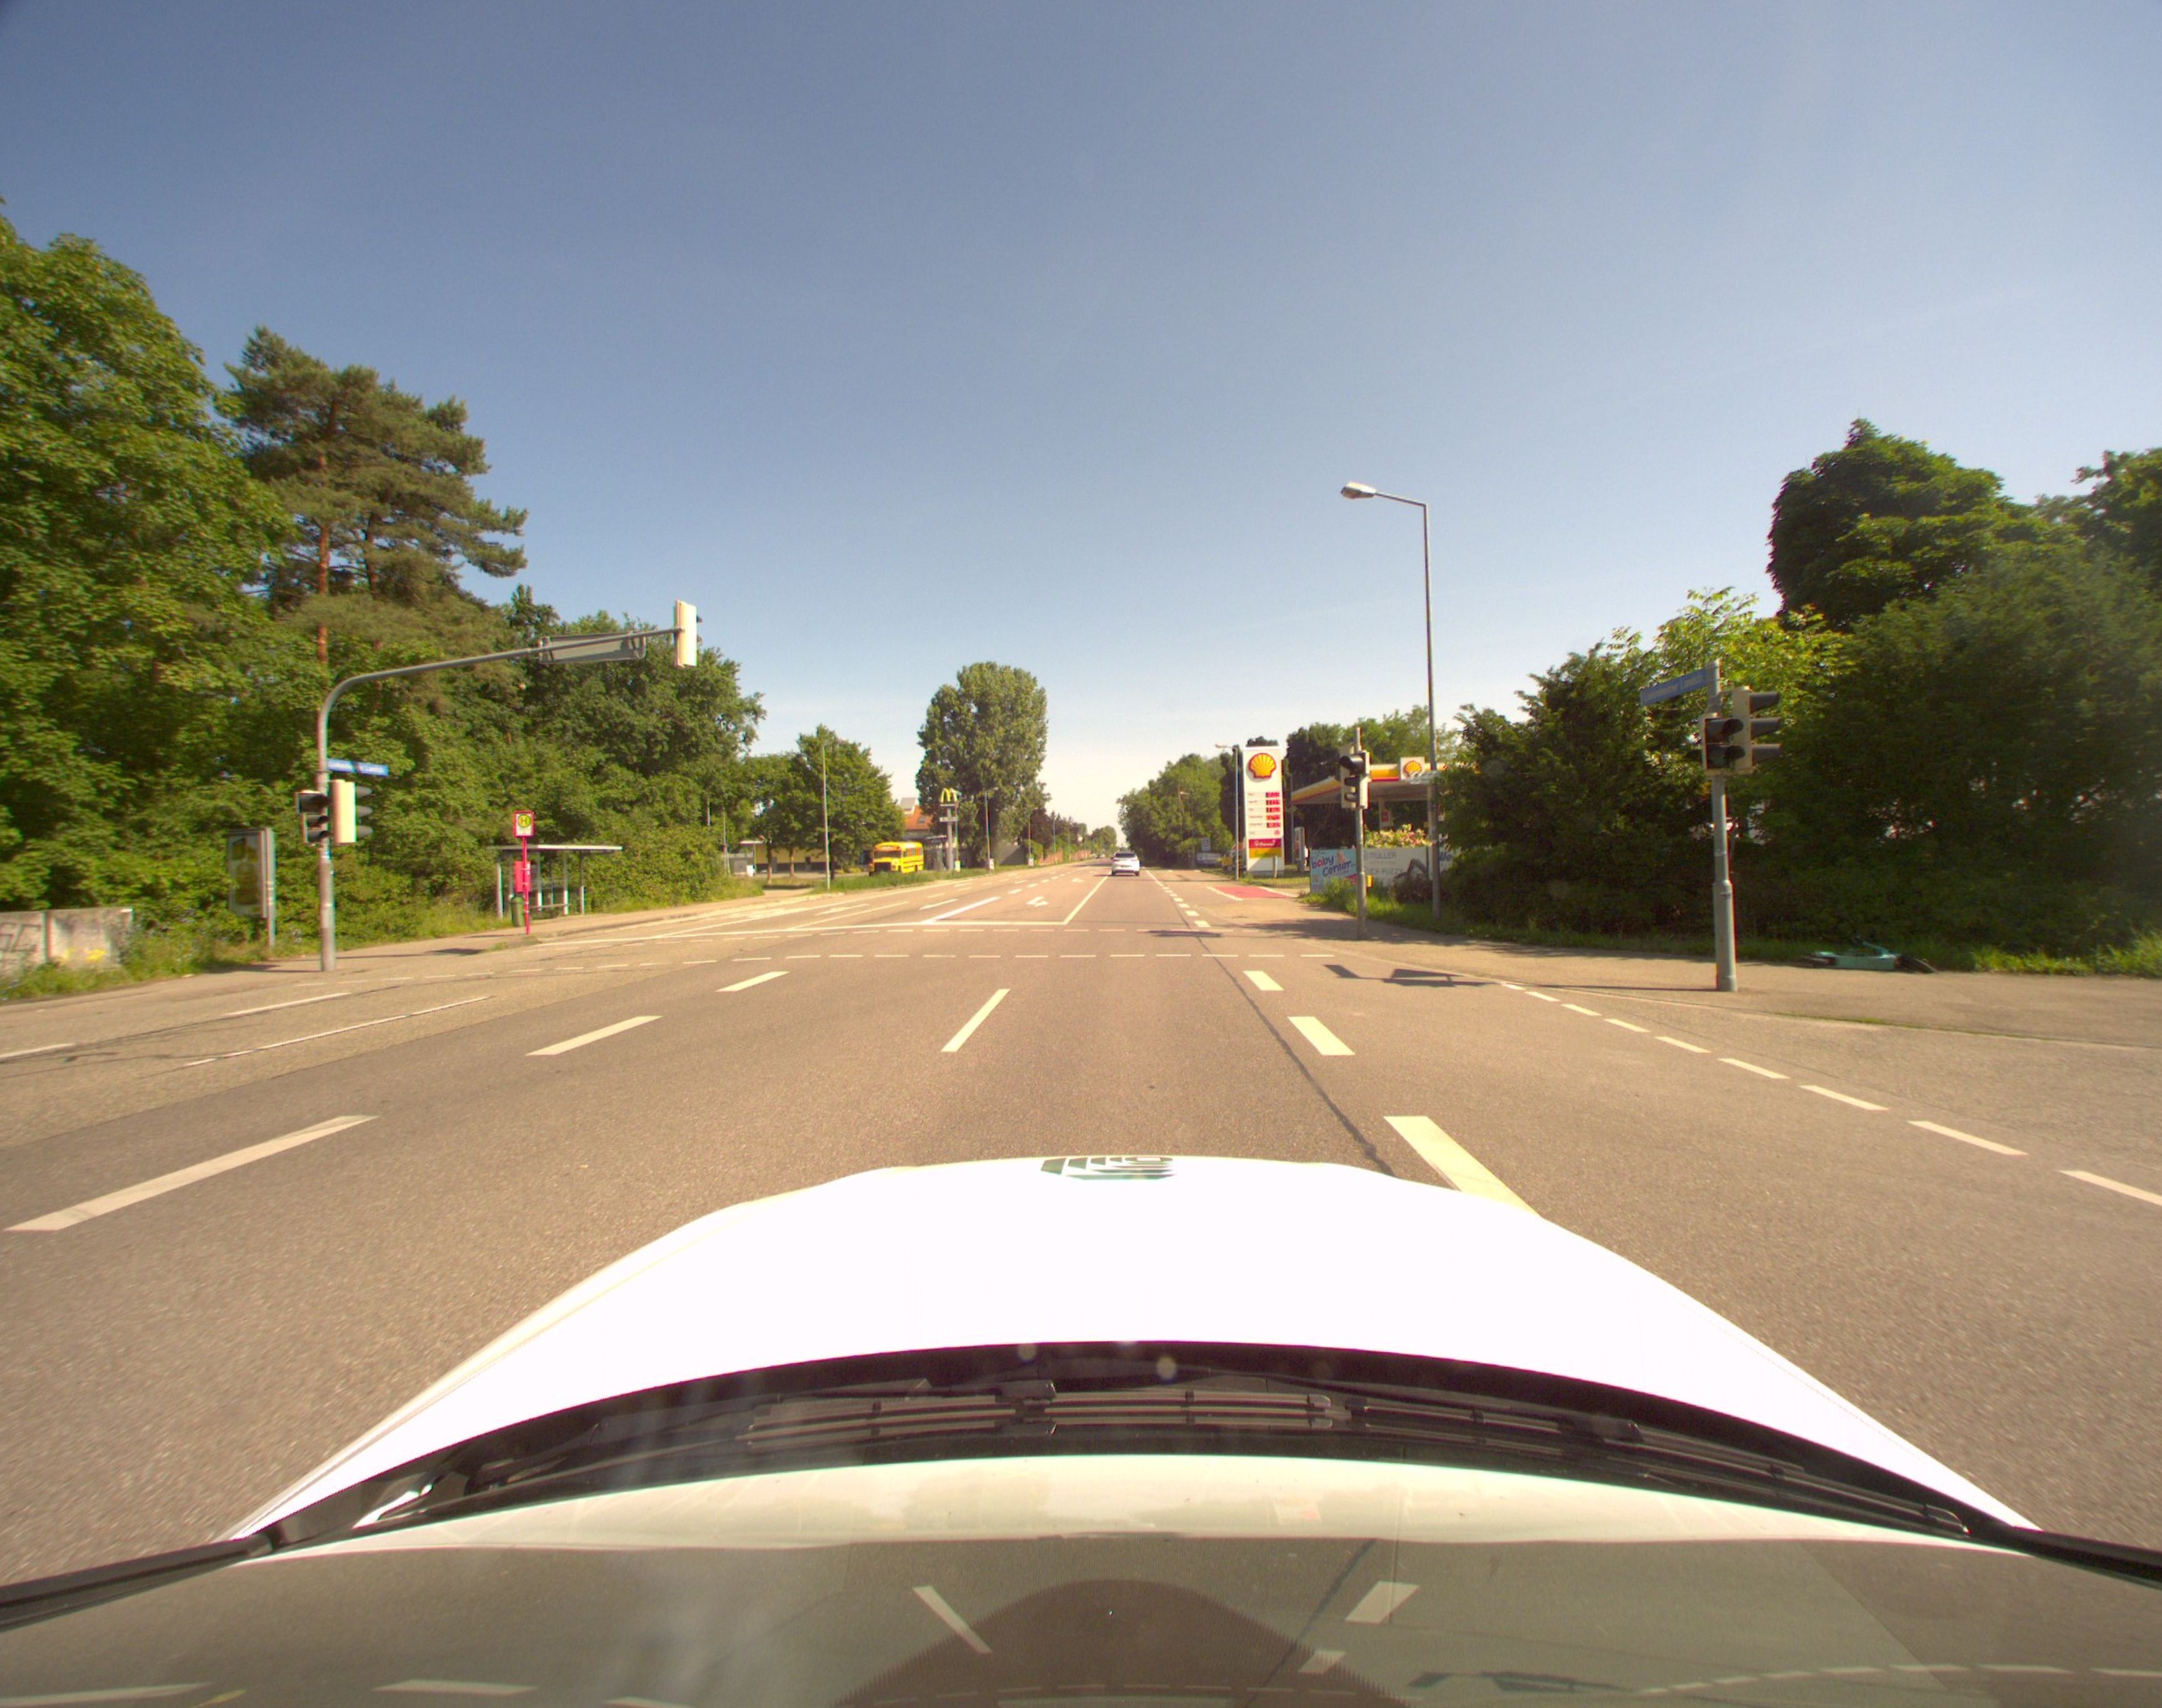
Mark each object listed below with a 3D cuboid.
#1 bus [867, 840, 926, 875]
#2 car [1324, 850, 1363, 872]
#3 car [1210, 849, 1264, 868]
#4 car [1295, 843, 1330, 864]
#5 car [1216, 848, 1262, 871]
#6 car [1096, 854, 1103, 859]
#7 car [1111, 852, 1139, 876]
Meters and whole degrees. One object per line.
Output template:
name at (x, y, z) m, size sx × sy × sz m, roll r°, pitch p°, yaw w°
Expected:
bus at (-14.953, 0.286, 66.806) m, size 2.569 × 2.679 × 8.999 m, roll 0°, pitch 0°, yaw 2°
car at (17.715, 0.433, 55.131) m, size 1.788 × 1.360 × 3.855 m, roll -2°, pitch 0°, yaw 6°
car at (12.418, 0.372, 64.826) m, size 3.979 × 1.530 × 1.583 m, roll 0°, pitch -1°, yaw -4°
car at (20.018, -0.019, 70.654) m, size 1.987 × 1.766 × 4.000 m, roll 0°, pitch 0°, yaw 1°
car at (10.937, 0.383, 56.336) m, size 1.586 × 1.530 × 2.698 m, roll 1°, pitch -2°, yaw -43°
car at (5.971, 0.855, 260.302) m, size 1.839 × 1.496 × 4.916 m, roll -3°, pitch -1°, yaw 3°
car at (2.966, 0.637, 54.673) m, size 1.839 × 1.541 × 4.228 m, roll 0°, pitch 0°, yaw 3°
